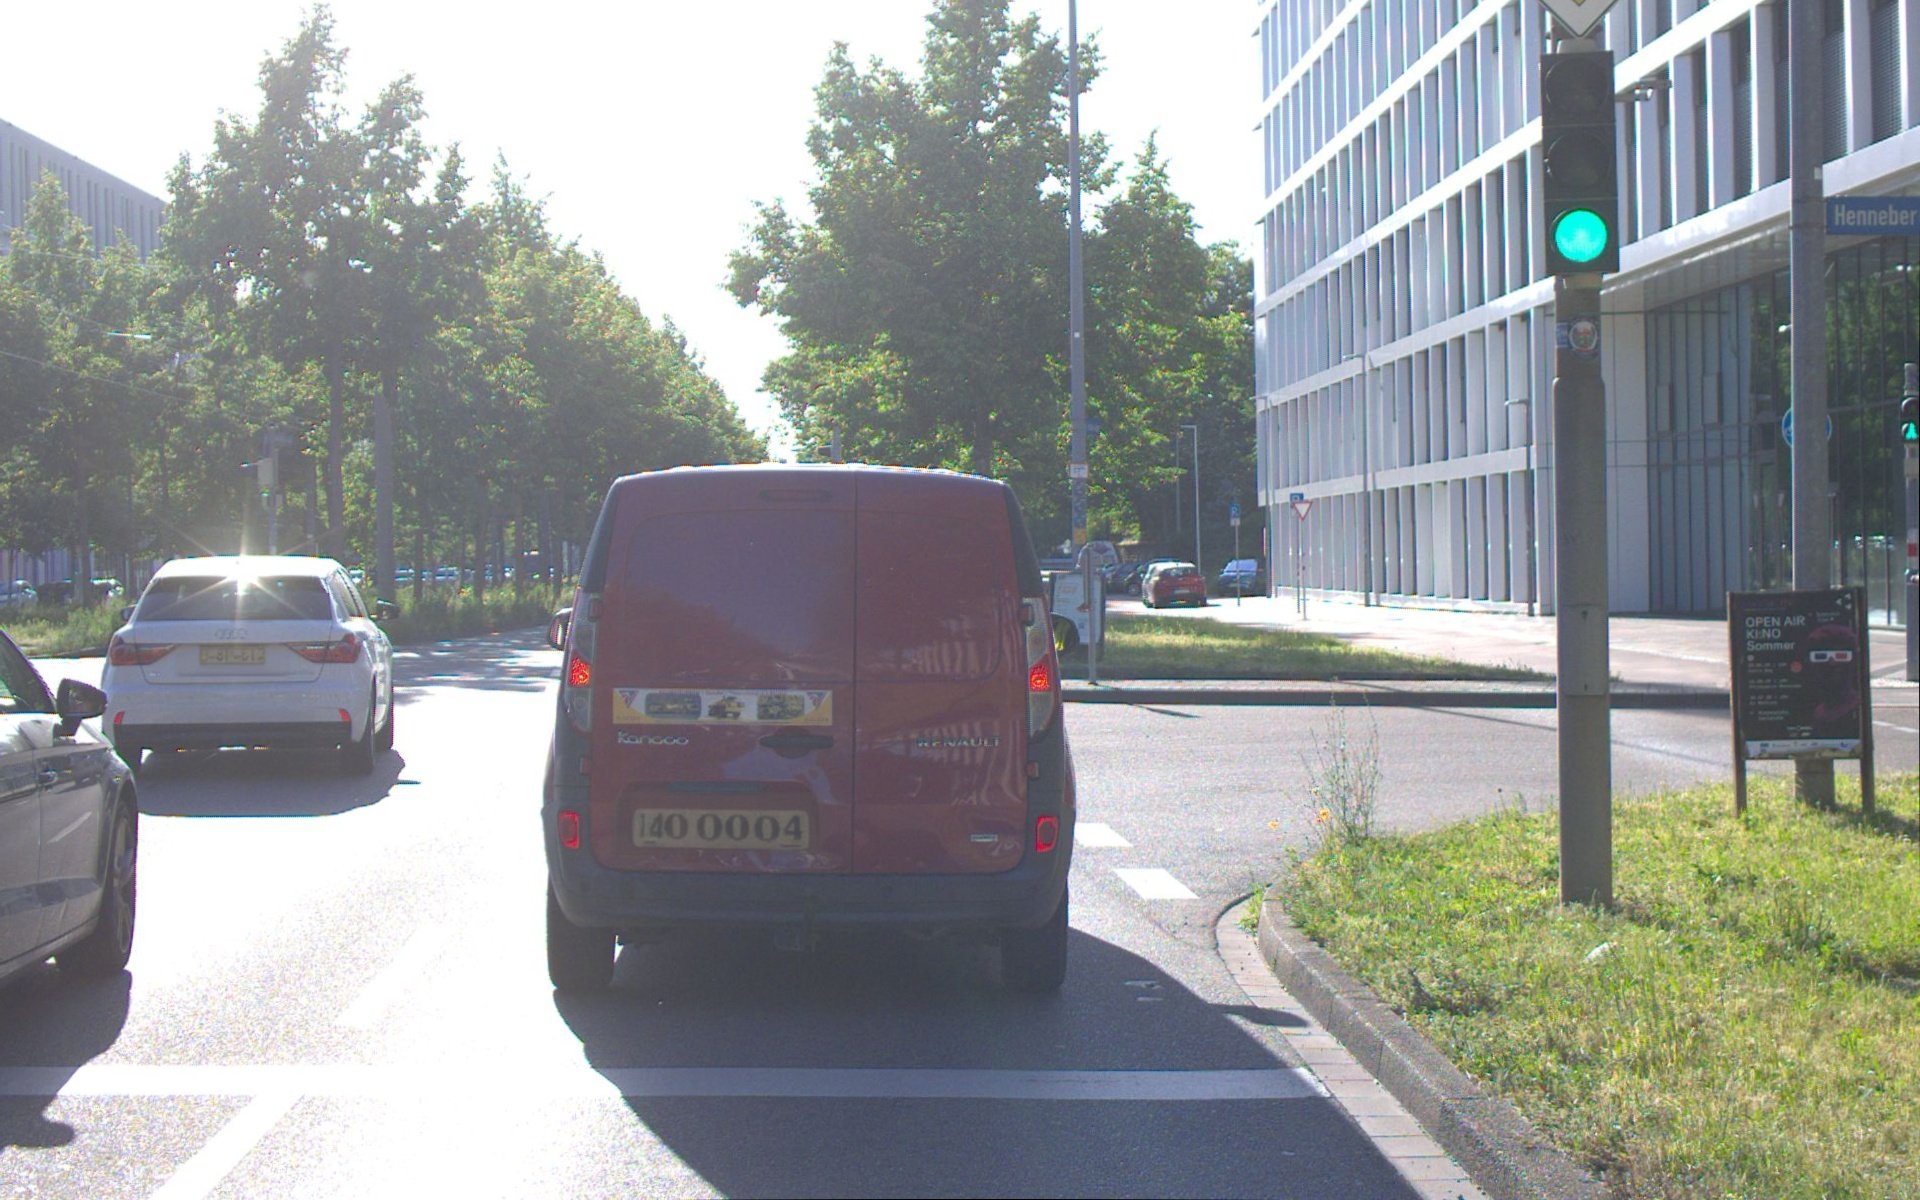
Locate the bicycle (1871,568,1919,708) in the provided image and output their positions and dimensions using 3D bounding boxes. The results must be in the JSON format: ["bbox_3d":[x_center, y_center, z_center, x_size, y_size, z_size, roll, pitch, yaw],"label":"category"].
[{"bbox_3d":[8.528,0.318,29.707,0.741,1.170,1.961,-1,1,-1],"label":"bicycle"}]

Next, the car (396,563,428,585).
[{"bbox_3d":[-40.506,-1.946,254.174,1.755,1.568,4.000,-1,1,-2],"label":"car"}]

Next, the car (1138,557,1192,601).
[{"bbox_3d":[7.285,-0.760,122.249,1.819,1.527,3.437,-1,1,2],"label":"car"}]

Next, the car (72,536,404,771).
[{"bbox_3d":[-4.820,0.303,23.448,1.807,1.430,4.114,-1,1,-6],"label":"car"}]

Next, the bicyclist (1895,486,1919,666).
[{"bbox_3d":[8.544,-0.216,29.479,0.771,1.526,0.850,-1,1,-1],"label":"bicyclist"}]

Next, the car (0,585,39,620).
[{"bbox_3d":[-38.162,0.101,137.873,1.580,1.337,3.712,-1,1,-2],"label":"car"}]

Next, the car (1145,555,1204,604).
[{"bbox_3d":[7.278,-0.710,117.044,1.758,1.606,3.903,-1,1,0],"label":"car"}]

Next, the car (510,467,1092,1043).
[{"bbox_3d":[-0.516,0.459,12.906,1.808,1.788,4.113,-1,1,0],"label":"car"}]

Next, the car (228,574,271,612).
[{"bbox_3d":[-38.752,-0.380,187.665,1.728,2.007,4.001,-1,1,-4],"label":"car"}]

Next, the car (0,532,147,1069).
[{"bbox_3d":[-3.677,0.576,10.220,1.808,1.522,4.113,-1,1,-4],"label":"car"}]

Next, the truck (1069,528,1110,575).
[{"bbox_3d":[7.051,-2.651,187.886,1.831,2.492,5.933,-1,0,-2],"label":"truck"}]
